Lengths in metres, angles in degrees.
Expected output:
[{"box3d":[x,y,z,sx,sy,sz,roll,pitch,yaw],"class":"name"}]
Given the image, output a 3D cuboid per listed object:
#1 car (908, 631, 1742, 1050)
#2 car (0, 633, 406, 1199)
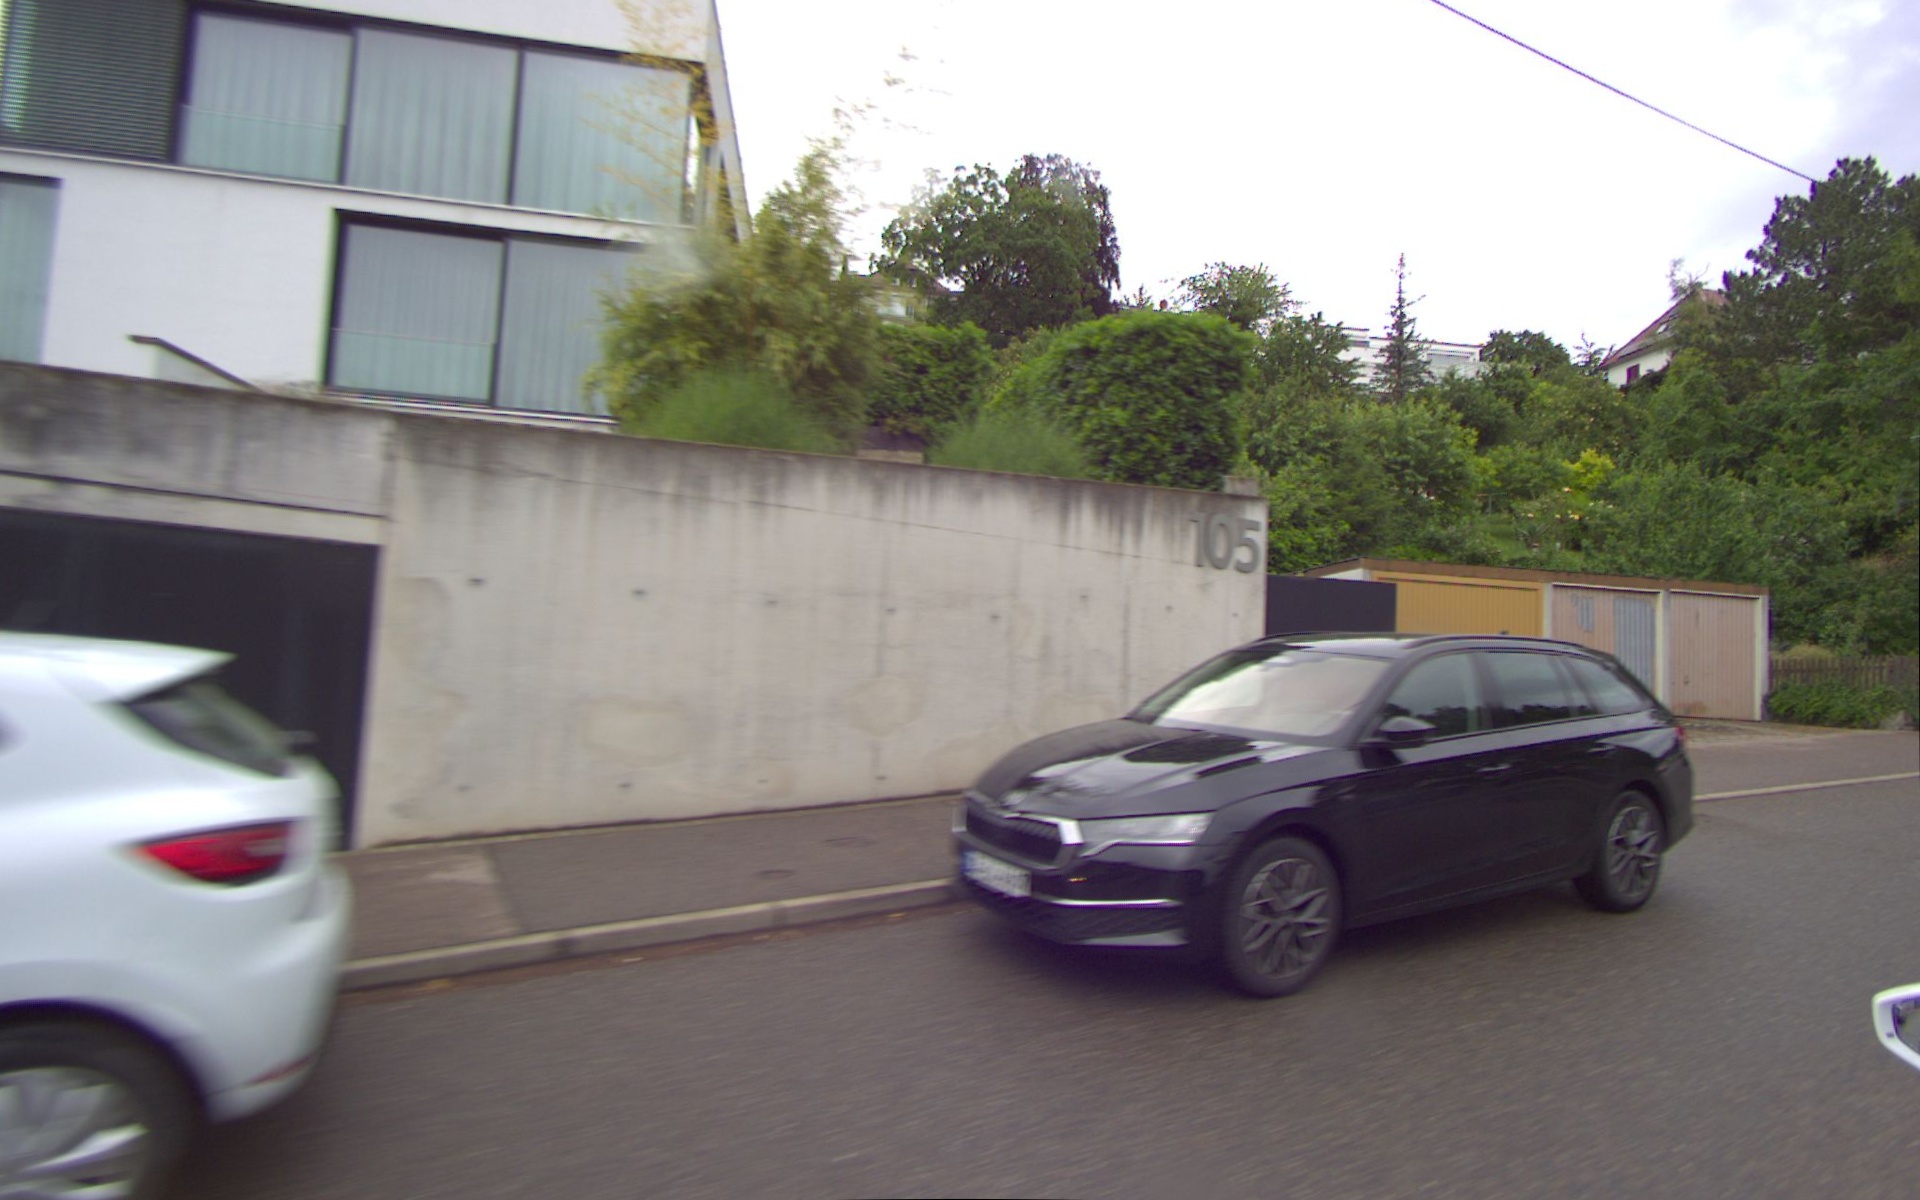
[{"box3d":[2.160,0.931,5.476,4.626,1.478,1.705,2,-2,-30],"class":"car"},{"box3d":[-3.521,0.793,2.142,3.996,1.459,1.822,2,-2,-33],"class":"car"}]
